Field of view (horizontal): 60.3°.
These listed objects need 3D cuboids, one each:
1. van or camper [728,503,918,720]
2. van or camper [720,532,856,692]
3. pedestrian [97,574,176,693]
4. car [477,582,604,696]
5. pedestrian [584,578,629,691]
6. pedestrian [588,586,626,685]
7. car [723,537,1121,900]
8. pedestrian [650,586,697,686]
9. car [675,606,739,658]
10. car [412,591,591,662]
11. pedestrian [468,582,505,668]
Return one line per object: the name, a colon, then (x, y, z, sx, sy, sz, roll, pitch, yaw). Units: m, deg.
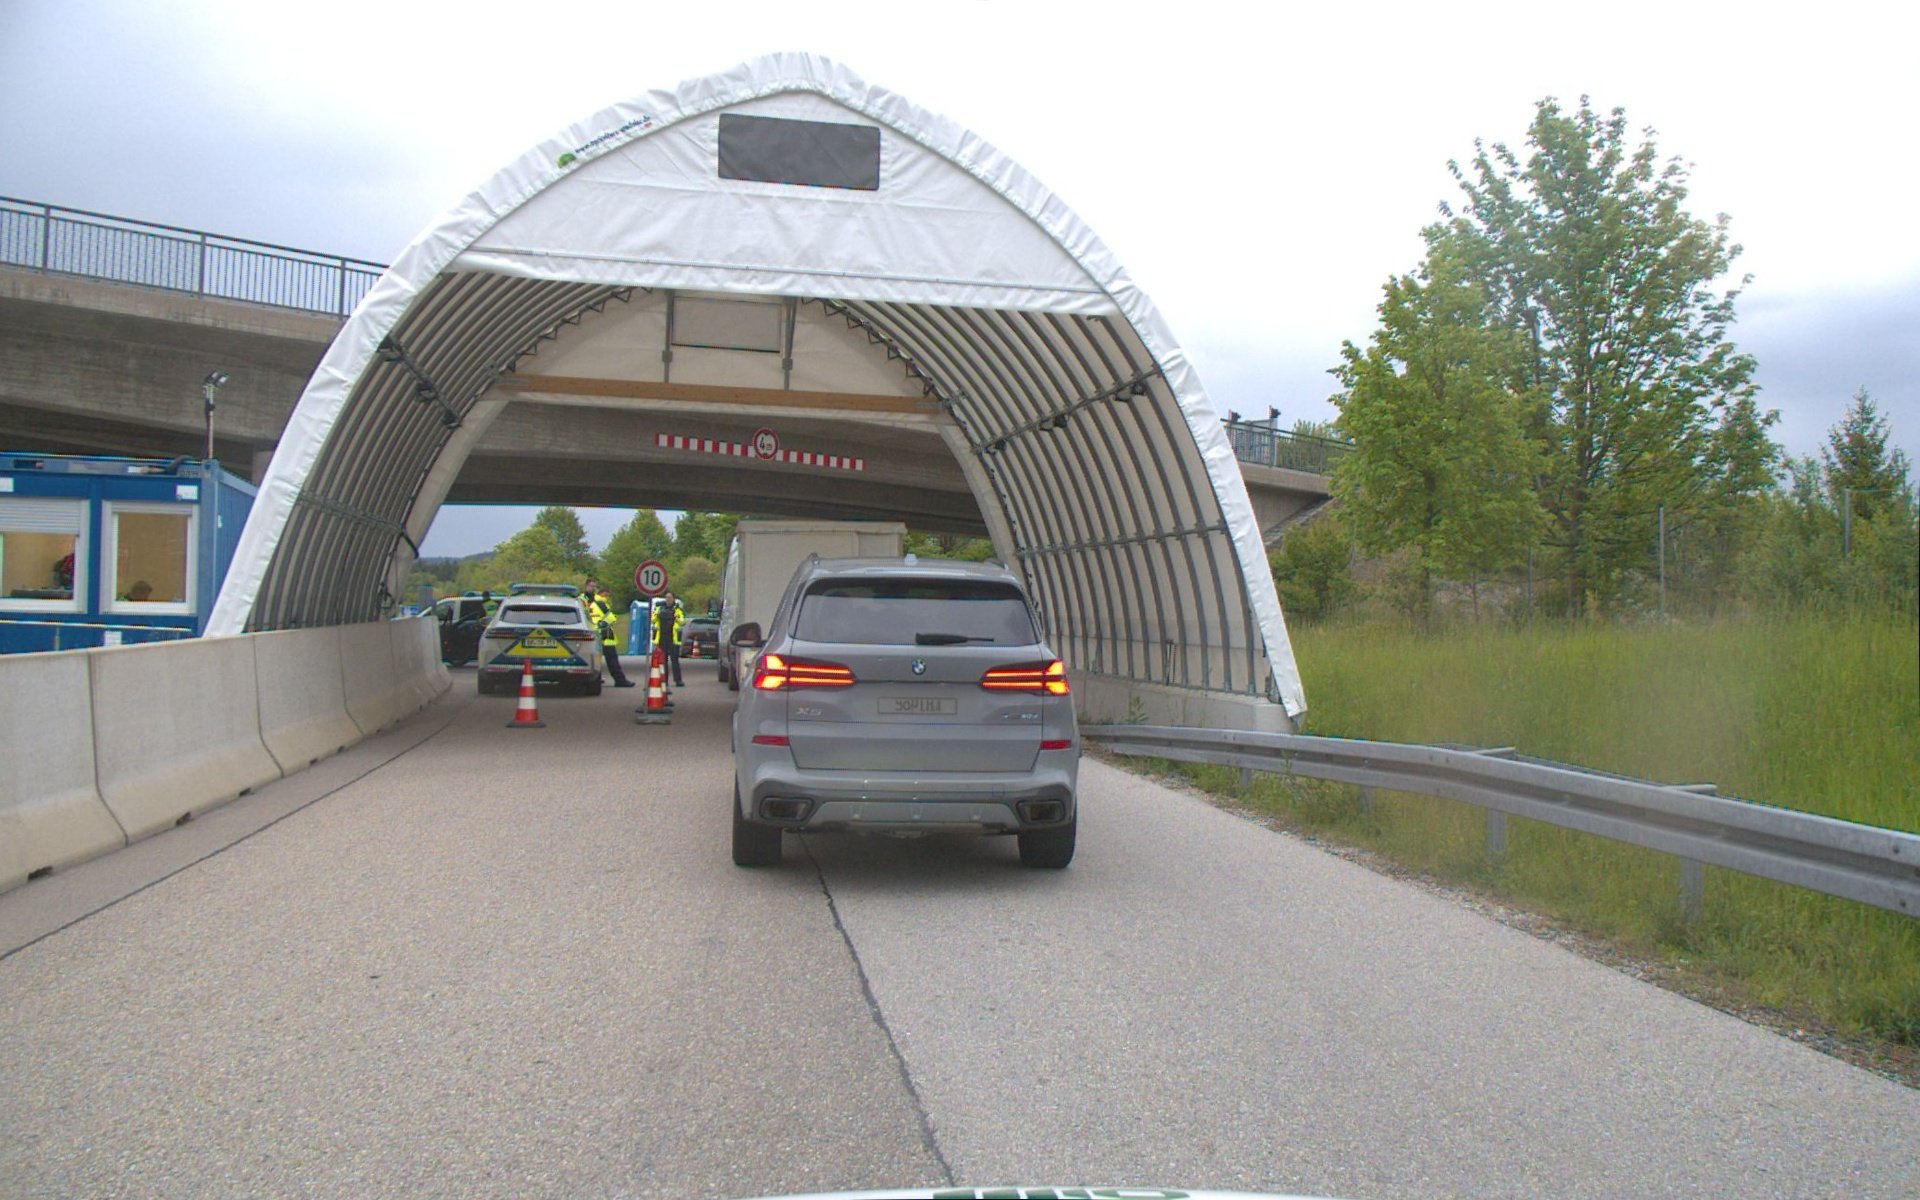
van or camper: (-2.110, 0.157, 23.292, 2.189, 2.597, 6.596, 0, 0, -9)
van or camper: (-3.150, 0.216, 29.341, 2.065, 2.563, 5.538, 0, 0, -9)
pedestrian: (-9.845, 0.396, 19.785, 0.597, 1.397, 0.628, 0, -1, 8)
car: (-6.752, 0.592, 26.634, 1.846, 1.675, 3.984, 0, 0, -15)
pedestrian: (-6.169, 0.594, 28.828, 0.736, 1.952, 0.760, 0, -1, -15)
pedestrian: (-6.376, 0.635, 29.925, 0.597, 1.784, 0.665, 0, -1, -6)
car: (-0.457, 0.598, 10.321, 1.957, 1.796, 3.991, 0, 0, -9)
pedestrian: (-5.112, 0.636, 29.537, 0.764, 1.752, 0.756, 0, -1, -6)
car: (-8.956, 1.093, 58.368, 1.959, 1.752, 3.883, 0, 0, -13)
car: (-13.469, 0.771, 48.710, 4.703, 2.049, 1.842, 0, -1, 7)
pedestrian: (-11.353, 0.603, 39.667, 0.686, 2.049, 0.692, 0, -1, -1)
